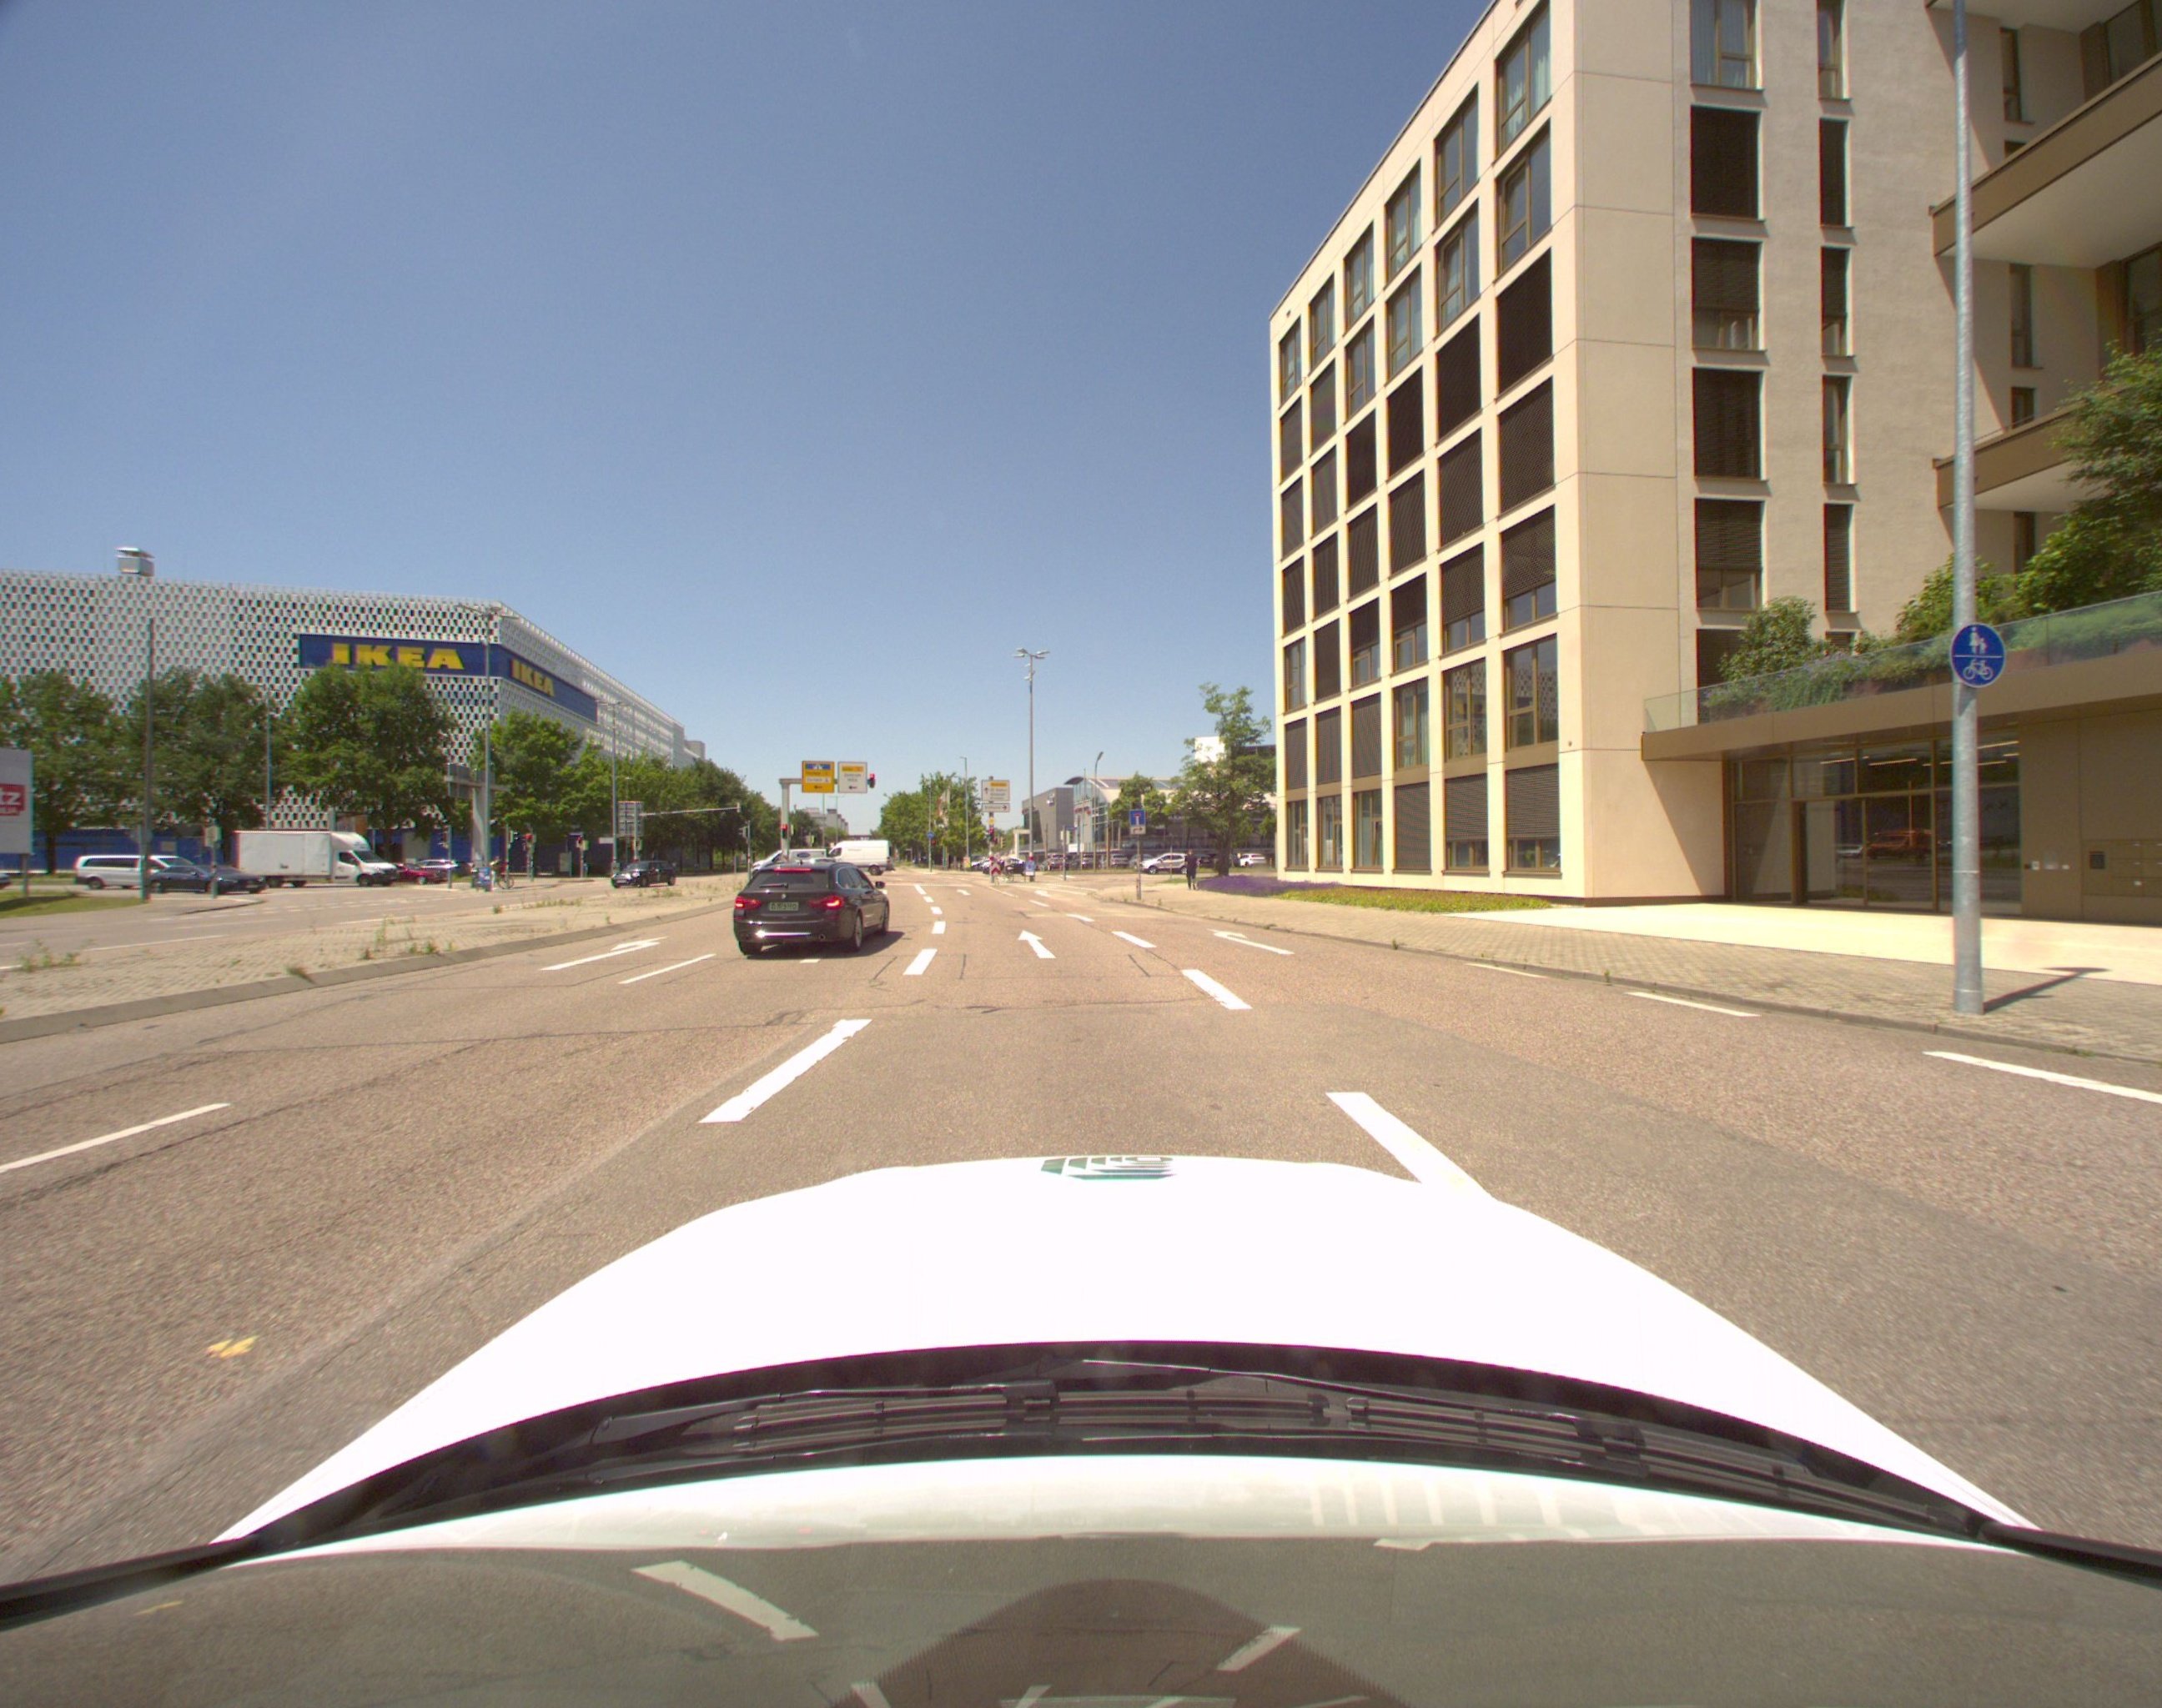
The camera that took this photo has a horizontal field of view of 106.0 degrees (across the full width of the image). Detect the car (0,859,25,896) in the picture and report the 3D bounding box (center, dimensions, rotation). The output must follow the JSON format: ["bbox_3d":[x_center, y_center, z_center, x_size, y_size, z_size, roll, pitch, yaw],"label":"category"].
[{"bbox_3d":[-60.225,1.281,43.326,4.703,2.014,1.991,-1,0,-13],"label":"car"}]

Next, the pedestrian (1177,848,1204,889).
[{"bbox_3d":[4.954,0.652,36.875,0.873,1.845,0.764,-2,0,-42],"label":"pedestrian"}]

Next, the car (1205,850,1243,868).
[{"bbox_3d":[13.446,0.425,76.940,1.830,1.639,4.452,-1,1,-14],"label":"car"}]

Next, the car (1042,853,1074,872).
[{"bbox_3d":[-2.099,0.709,72.682,1.997,1.639,4.247,0,0,-14],"label":"car"}]

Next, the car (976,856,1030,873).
[{"bbox_3d":[-7.291,0.975,75.891,4.746,1.457,1.992,0,0,-13],"label":"car"}]

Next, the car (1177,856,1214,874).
[{"bbox_3d":[10.680,0.999,76.399,1.831,1.639,4.451,0,0,-15],"label":"car"}]

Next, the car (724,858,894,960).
[{"bbox_3d":[-4.588,0.829,14.488,1.797,1.466,4.615,0,0,-5],"label":"car"}]

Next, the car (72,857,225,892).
[{"bbox_3d":[-51.521,1.121,45.106,5.455,1.811,1.993,-1,0,-11],"label":"car"}]

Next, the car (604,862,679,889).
[{"bbox_3d":[-23.717,1.150,44.108,1.849,1.302,3.894,-2,0,1],"label":"car"}]

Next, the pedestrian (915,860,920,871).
[{"bbox_3d":[-23.472,1.621,116.995,0.669,1.510,0.732,-1,0,-15],"label":"pedestrian"}]

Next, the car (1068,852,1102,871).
[{"bbox_3d":[0.322,0.639,73.523,1.997,1.639,4.535,-1,1,-14],"label":"car"}]

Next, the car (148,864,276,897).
[{"bbox_3d":[-42.665,1.288,40.081,3.981,1.508,1.929,-1,0,-5],"label":"car"}]

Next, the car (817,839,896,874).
[{"bbox_3d":[-16.980,0.193,61.783,5.479,2.567,1.997,0,-1,-4],"label":"car"}]

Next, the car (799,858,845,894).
[{"bbox_3d":[-11.646,0.942,36.514,1.804,1.494,3.973,0,0,-20],"label":"car"}]

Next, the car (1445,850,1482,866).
[{"bbox_3d":[44.014,0.438,93.792,1.736,1.786,3.980,-1,0,-14],"label":"car"}]

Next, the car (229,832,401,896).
[{"bbox_3d":[-43.565,0.489,46.543,6.911,3.486,2.173,0,1,-14],"label":"car"}]

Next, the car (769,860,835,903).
[{"bbox_3d":[-10.085,0.955,29.721,1.750,1.390,4.514,0,0,-12],"label":"car"}]

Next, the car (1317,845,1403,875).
[{"bbox_3d":[17.742,0.416,51.848,4.843,1.815,1.716,-1,-1,33],"label":"car"}]

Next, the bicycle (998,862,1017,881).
[{"bbox_3d":[-4.572,1.080,50.646,0.788,1.127,1.909,1,0,-18],"label":"bicycle"}]

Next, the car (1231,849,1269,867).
[{"bbox_3d":[16.065,0.368,77.693,1.830,1.639,4.452,-1,1,-14],"label":"car"}]

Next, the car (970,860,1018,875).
[{"bbox_3d":[-9.225,1.438,86.132,4.751,1.457,1.989,0,0,-16],"label":"car"}]

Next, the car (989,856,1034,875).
[{"bbox_3d":[-5.316,0.862,61.988,3.364,1.357,1.620,1,0,-7],"label":"car"}]

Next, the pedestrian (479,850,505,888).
[{"bbox_3d":[-31.380,0.800,43.395,0.908,2.013,0.859,-1,0,-20],"label":"pedestrian"}]

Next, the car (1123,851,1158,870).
[{"bbox_3d":[5.418,0.547,75.054,1.888,1.639,4.502,-1,1,-14],"label":"car"}]

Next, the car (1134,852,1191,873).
[{"bbox_3d":[6.365,0.653,63.746,4.187,1.652,1.712,0,0,-4],"label":"car"}]

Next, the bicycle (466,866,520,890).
[{"bbox_3d":[-31.308,1.270,43.400,2.100,1.213,0.990,-1,0,-20],"label":"bicycle"}]

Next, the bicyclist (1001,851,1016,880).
[{"bbox_3d":[-4.496,0.724,50.391,0.735,1.749,0.749,1,0,-19],"label":"bicyclist"}]

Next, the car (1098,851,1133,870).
[{"bbox_3d":[3.126,0.563,74.304,1.997,1.639,4.419,-1,1,-14],"label":"car"}]

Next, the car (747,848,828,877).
[{"bbox_3d":[-19.454,0.582,54.111,4.853,1.850,1.819,1,-1,-29],"label":"car"}]

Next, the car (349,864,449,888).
[{"bbox_3d":[-41.629,1.318,49.825,4.287,1.342,1.768,-1,1,-13],"label":"car"}]
